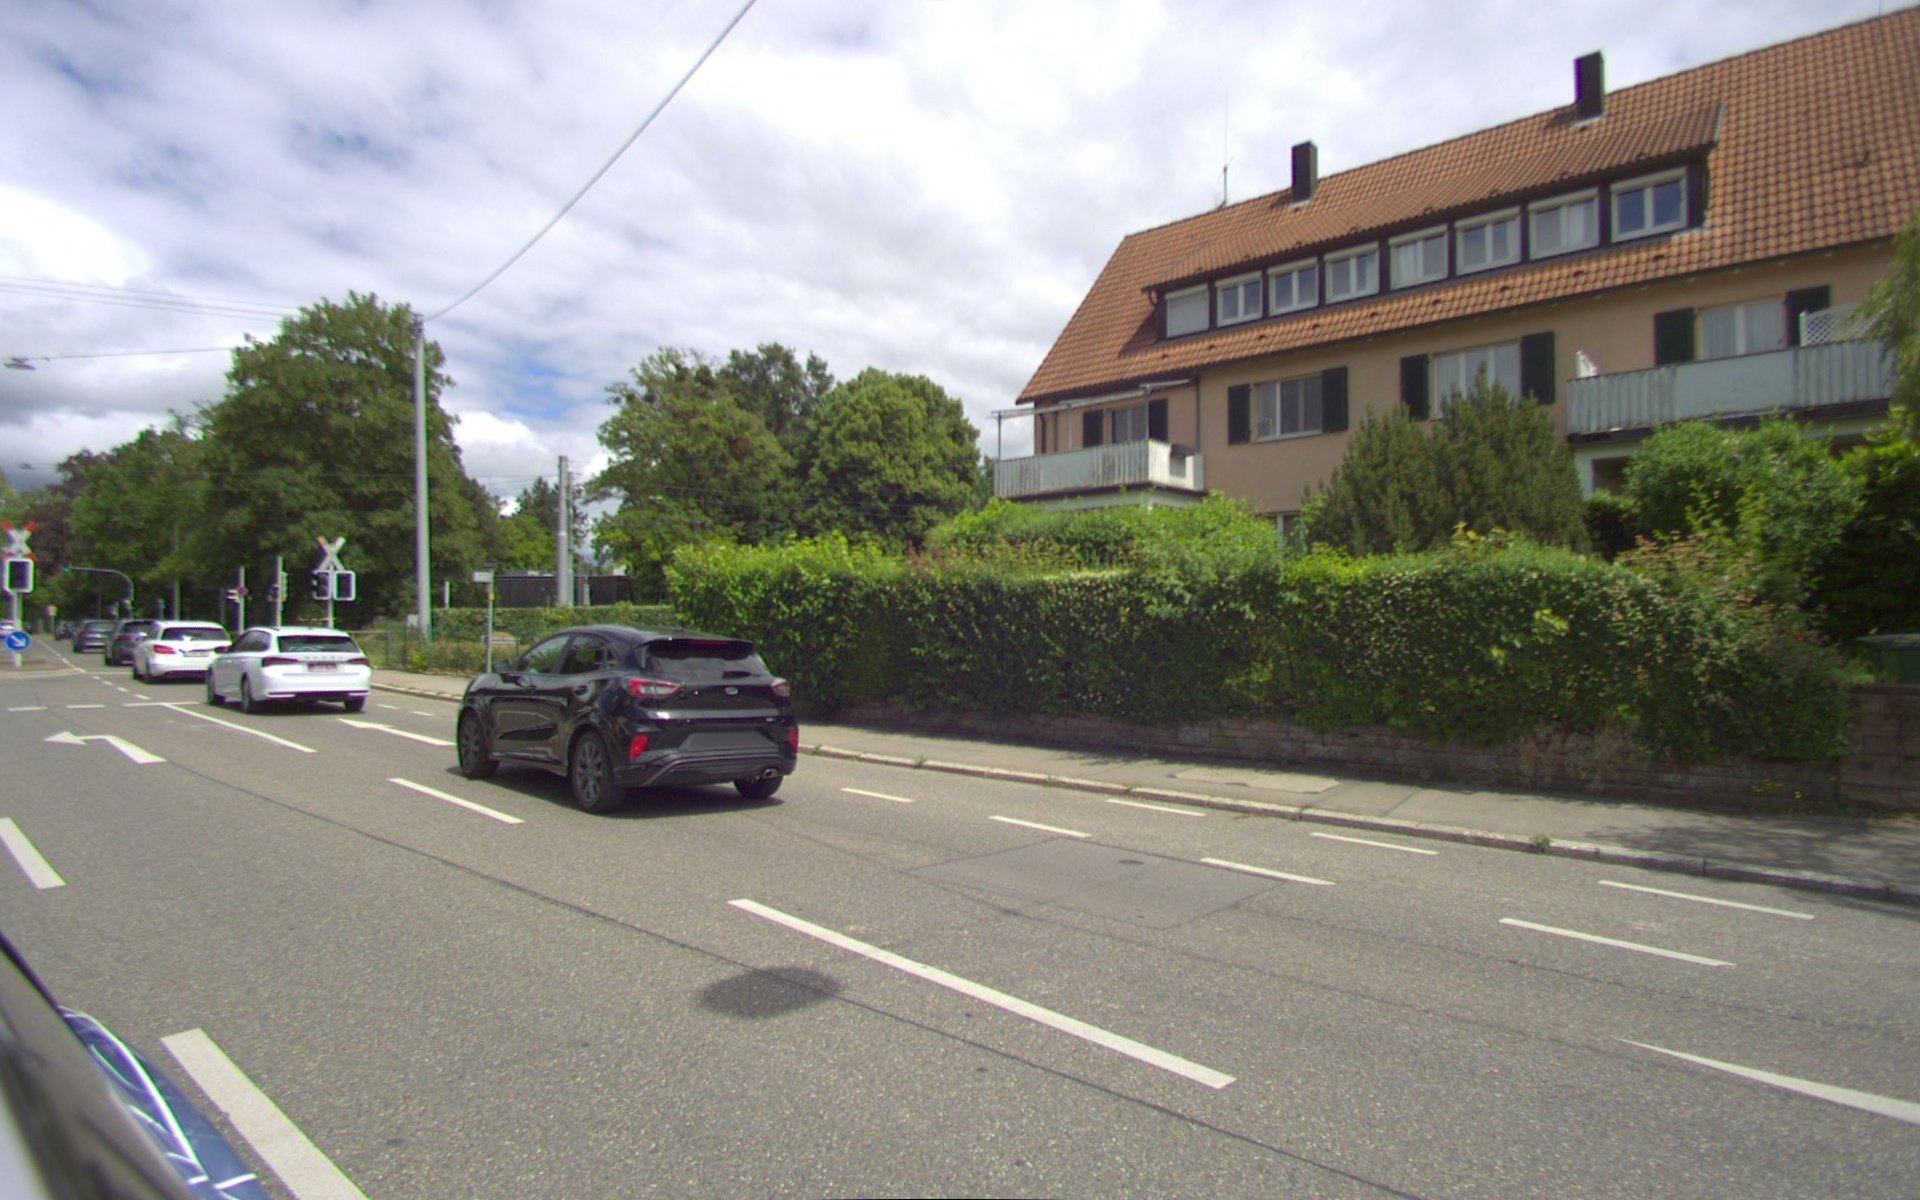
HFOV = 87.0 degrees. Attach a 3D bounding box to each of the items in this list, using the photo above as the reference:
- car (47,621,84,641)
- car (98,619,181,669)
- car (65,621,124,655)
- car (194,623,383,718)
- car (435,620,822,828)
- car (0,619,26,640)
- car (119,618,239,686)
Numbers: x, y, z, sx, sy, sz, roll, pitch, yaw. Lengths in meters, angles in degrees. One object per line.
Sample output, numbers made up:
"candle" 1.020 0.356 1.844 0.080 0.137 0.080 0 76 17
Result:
"car" -68.755 2.383 77.759 1.906 1.431 4.003 0 -1 -44
"car" -28.800 1.491 35.481 4.001 1.604 1.777 -1 -1 44
"car" -41.823 1.801 48.871 4.001 1.597 1.761 -1 -2 44
"car" -12.086 1.169 18.088 4.443 1.487 1.855 -1 -3 44
"car" -3.227 0.958 9.381 4.118 1.467 1.678 0 -3 45
"car" -69.021 2.112 73.300 1.906 1.431 4.003 0 -1 -44
"car" -20.084 1.269 25.962 4.160 1.587 1.827 -1 -1 44
